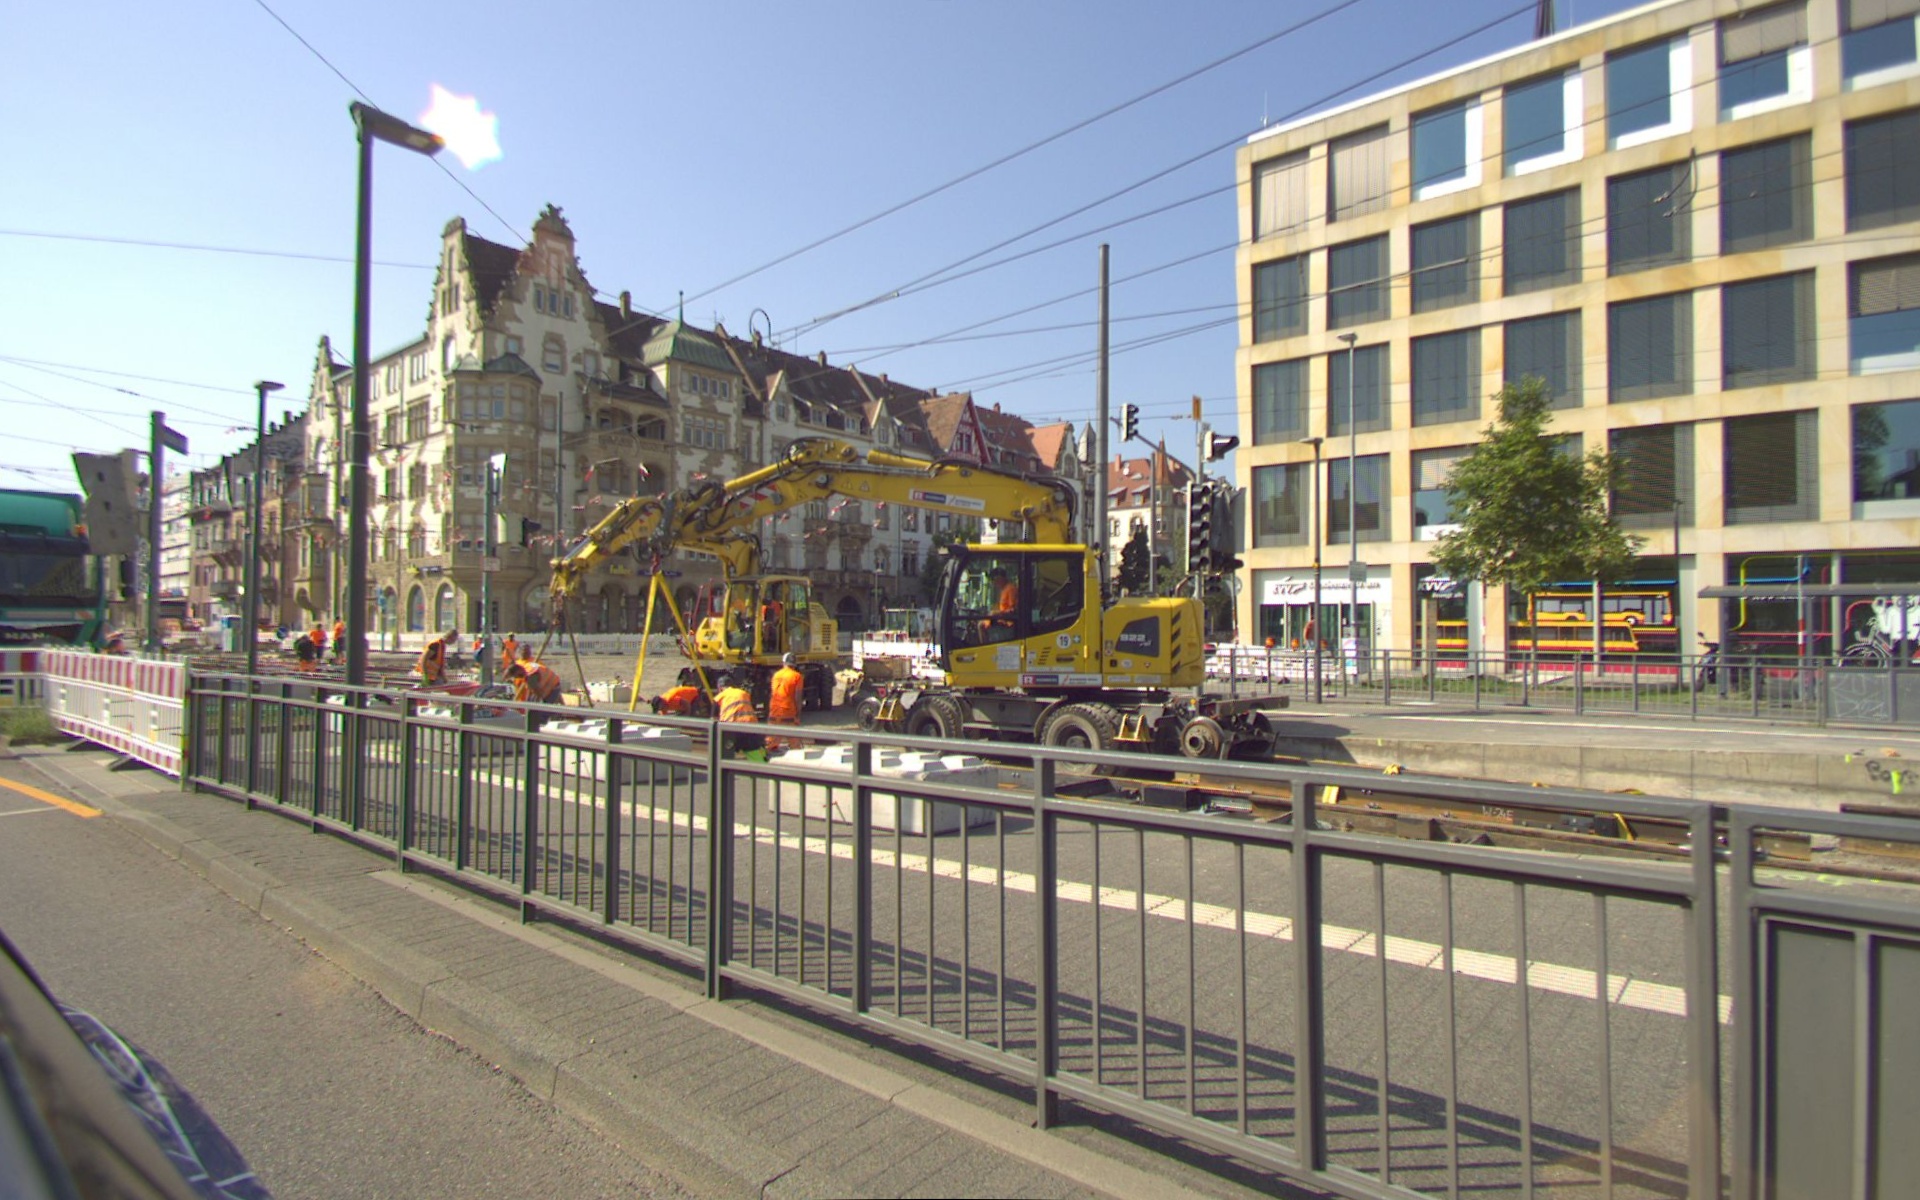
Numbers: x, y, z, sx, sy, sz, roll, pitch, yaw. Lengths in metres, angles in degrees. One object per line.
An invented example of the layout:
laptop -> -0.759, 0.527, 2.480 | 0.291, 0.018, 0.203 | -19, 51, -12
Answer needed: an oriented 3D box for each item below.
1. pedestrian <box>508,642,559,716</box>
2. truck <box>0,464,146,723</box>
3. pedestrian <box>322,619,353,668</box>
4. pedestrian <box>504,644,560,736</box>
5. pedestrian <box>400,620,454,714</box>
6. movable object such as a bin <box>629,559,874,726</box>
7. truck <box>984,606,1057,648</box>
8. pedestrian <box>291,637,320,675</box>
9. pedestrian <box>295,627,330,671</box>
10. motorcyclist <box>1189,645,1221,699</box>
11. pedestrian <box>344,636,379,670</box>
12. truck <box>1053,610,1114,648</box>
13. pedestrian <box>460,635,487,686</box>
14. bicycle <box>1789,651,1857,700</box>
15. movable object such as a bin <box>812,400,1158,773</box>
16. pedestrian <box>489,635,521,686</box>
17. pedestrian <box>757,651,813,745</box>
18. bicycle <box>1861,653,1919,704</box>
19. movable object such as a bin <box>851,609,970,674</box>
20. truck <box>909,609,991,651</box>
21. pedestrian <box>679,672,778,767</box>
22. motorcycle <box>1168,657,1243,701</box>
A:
pedestrian -> -7.073, 1.292, 16.786 | 0.691, 1.186, 0.704 | 1, -3, -28
truck -> -17.786, 0.002, 17.537 | 8.983, 3.818, 2.787 | -1, -3, 32
pedestrian -> -22.342, 1.551, 36.320 | 0.678, 1.715, 0.743 | -2, -3, 40
pedestrian -> -6.545, 1.355, 15.480 | 0.691, 1.345, 0.839 | 1, -3, -28
pedestrian -> -8.721, 1.084, 16.574 | 0.730, 1.490, 0.705 | 1, -3, -27
movable object such as a bin -> -4.448, 0.923, 22.243 | 3.548, 3.248, 4.090 | -1, -3, 25
truck -> 4.776, 2.128, 78.429 | 2.627, 3.067, 6.276 | -2, -3, 37
pedestrian -> -21.906, 1.875, 33.875 | 0.547, 1.256, 0.669 | -2, -3, 39
pedestrian -> -23.395, 1.767, 36.575 | 0.727, 1.568, 0.753 | 0, -2, -2
motorcyclist -> 5.547, 1.636, 22.932 | 0.424, 1.188, 0.516 | 6, -5, -45
pedestrian -> -22.142, 1.945, 37.442 | 0.864, 1.192, 0.723 | 1, -4, 33
truck -> 10.478, 2.499, 85.449 | 2.235, 3.067, 6.276 | -2, -3, 37
pedestrian -> -16.591, 2.052, 34.524 | 0.728, 1.715, 0.761 | 2, -3, -30
bicycle -> 18.753, 1.612, 22.040 | 1.019, 0.975, 2.406 | -2, -3, 39
movable object such as a bin -> 0.300, -0.084, 14.958 | 4.212, 4.589, 2.954 | -2, -3, 43
pedestrian -> -15.767, 2.086, 35.094 | 0.758, 1.715, 0.731 | -2, -3, 40
pedestrian -> -2.256, 1.245, 13.058 | 0.692, 1.164, 0.589 | 0, -2, -10
bicycle -> 19.649, 1.612, 21.185 | 1.019, 0.975, 2.406 | -2, -3, 39
movable object such as a bin -> -2.229, 1.857, 47.177 | 2.490, 2.810, 5.444 | 0, -1, 41
truck -> -0.620, 2.128, 71.206 | 2.688, 2.836, 5.963 | -2, -3, 38
pedestrian -> -2.568, 1.294, 11.226 | 0.881, 0.962, 0.693 | -2, -3, 41
motorcycle -> 5.557, 1.779, 22.954 | 0.424, 0.885, 1.635 | 6, -5, -44
